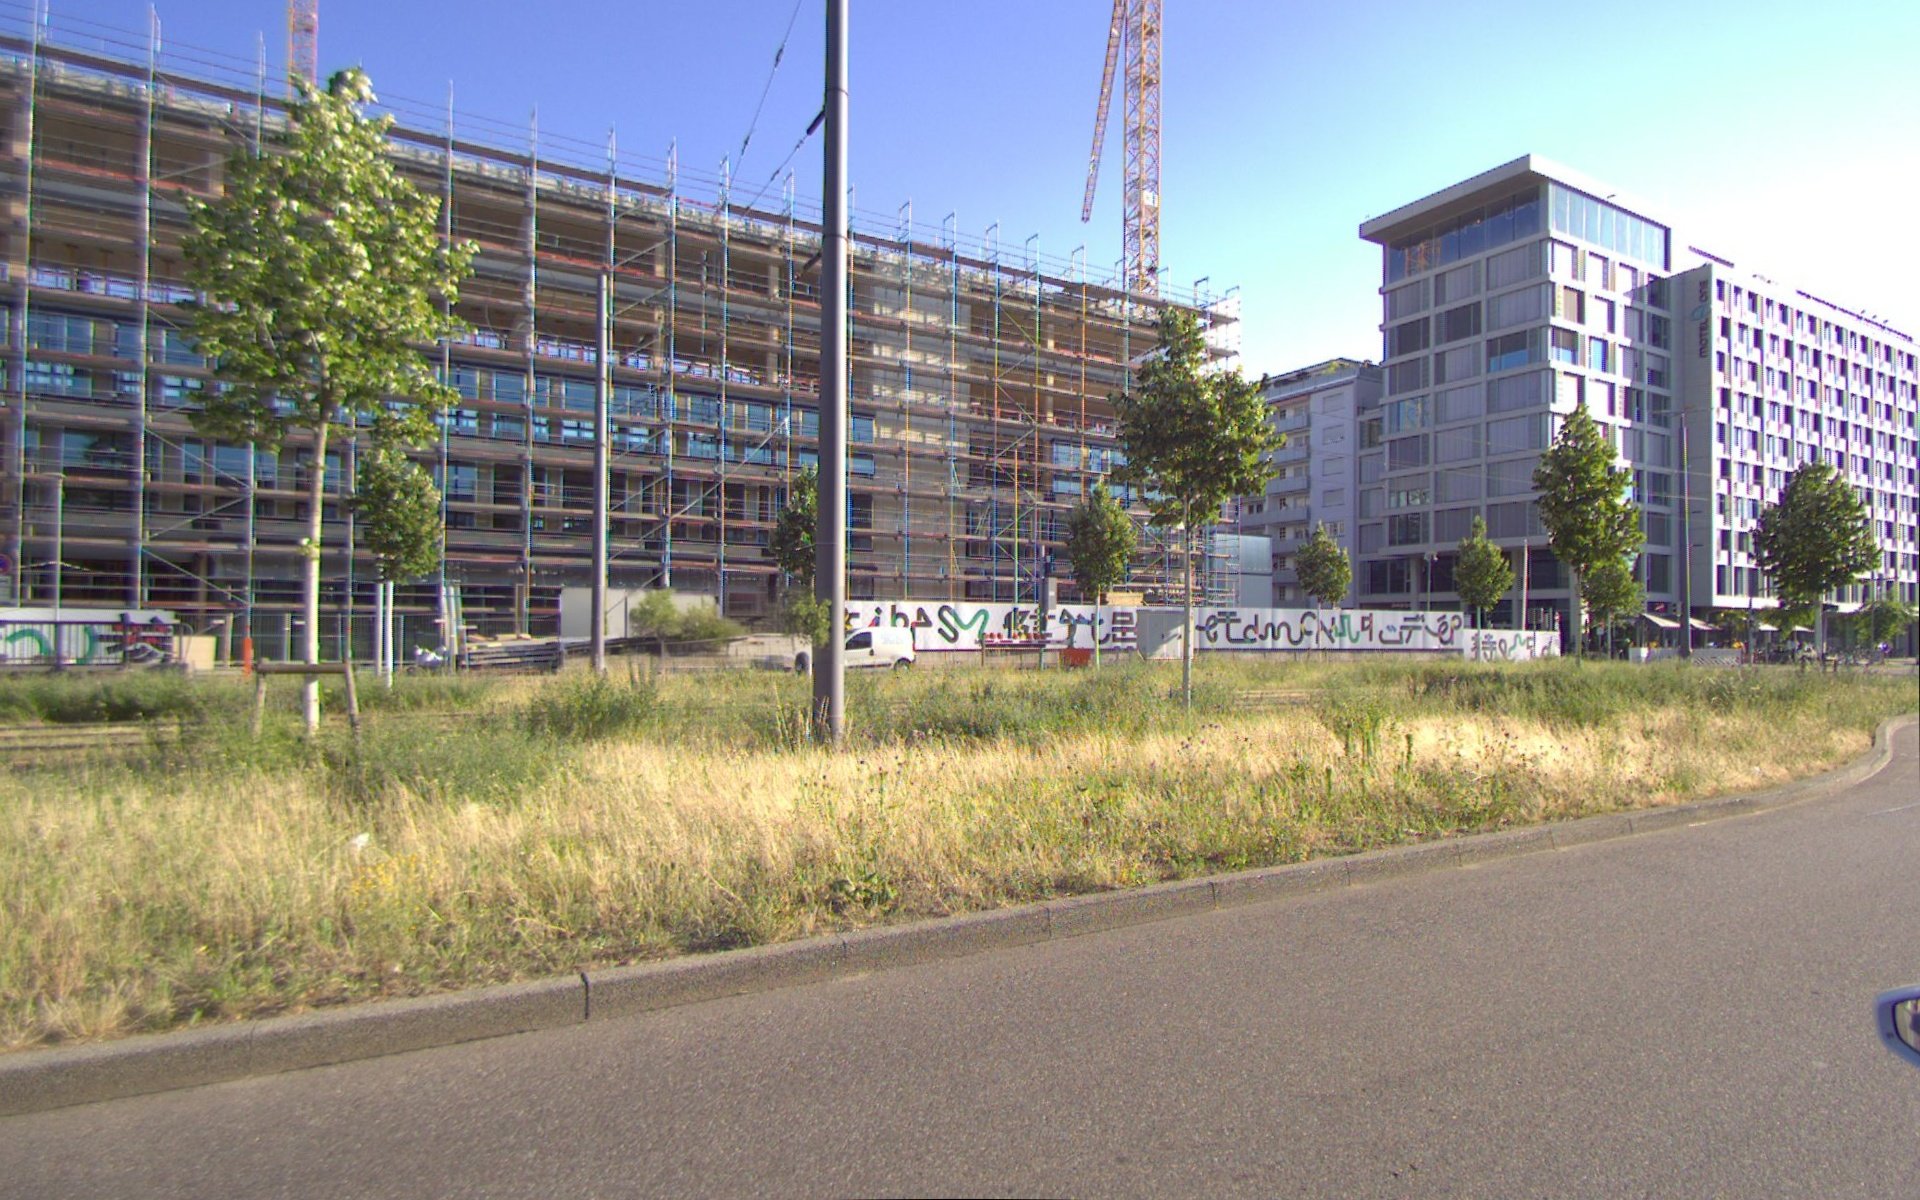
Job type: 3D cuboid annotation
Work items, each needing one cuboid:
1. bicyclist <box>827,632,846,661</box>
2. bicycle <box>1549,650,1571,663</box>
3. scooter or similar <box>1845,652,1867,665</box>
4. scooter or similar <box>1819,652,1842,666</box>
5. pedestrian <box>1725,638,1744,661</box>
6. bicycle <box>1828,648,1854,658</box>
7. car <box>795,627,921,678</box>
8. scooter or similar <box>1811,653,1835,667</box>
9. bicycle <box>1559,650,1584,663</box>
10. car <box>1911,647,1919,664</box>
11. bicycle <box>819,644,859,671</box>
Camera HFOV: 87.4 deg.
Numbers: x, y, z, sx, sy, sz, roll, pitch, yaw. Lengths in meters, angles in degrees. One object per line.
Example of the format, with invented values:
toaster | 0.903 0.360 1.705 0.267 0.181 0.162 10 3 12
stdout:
bicyclist | -5.003 1.878 40.676 0.631 1.169 0.476 1 -2 -30
bicycle | 43.682 4.094 73.140 1.879 0.948 0.533 2 -2 -31
scooter or similar | 69.855 4.559 78.302 0.429 1.032 1.238 1 -2 -29
scooter or similar | 65.957 4.436 76.075 0.429 1.032 1.238 1 -2 -29
pedestrian | 57.703 3.686 74.836 0.791 1.744 0.868 1 -1 -21
bicycle | 83.059 4.996 94.724 0.507 0.917 1.792 2 -2 -36
car | -3.316 1.686 32.762 3.797 1.578 1.597 2 -2 -30
scooter or similar | 64.672 4.493 75.279 0.504 1.032 1.238 1 -2 -29
bicycle | 44.120 4.078 72.461 2.191 0.948 0.615 2 -2 -31
car | 83.062 4.759 85.729 3.953 1.345 1.748 2 -1 -30
bicycle | -4.895 2.323 40.724 1.546 1.075 0.476 2 -2 -30
